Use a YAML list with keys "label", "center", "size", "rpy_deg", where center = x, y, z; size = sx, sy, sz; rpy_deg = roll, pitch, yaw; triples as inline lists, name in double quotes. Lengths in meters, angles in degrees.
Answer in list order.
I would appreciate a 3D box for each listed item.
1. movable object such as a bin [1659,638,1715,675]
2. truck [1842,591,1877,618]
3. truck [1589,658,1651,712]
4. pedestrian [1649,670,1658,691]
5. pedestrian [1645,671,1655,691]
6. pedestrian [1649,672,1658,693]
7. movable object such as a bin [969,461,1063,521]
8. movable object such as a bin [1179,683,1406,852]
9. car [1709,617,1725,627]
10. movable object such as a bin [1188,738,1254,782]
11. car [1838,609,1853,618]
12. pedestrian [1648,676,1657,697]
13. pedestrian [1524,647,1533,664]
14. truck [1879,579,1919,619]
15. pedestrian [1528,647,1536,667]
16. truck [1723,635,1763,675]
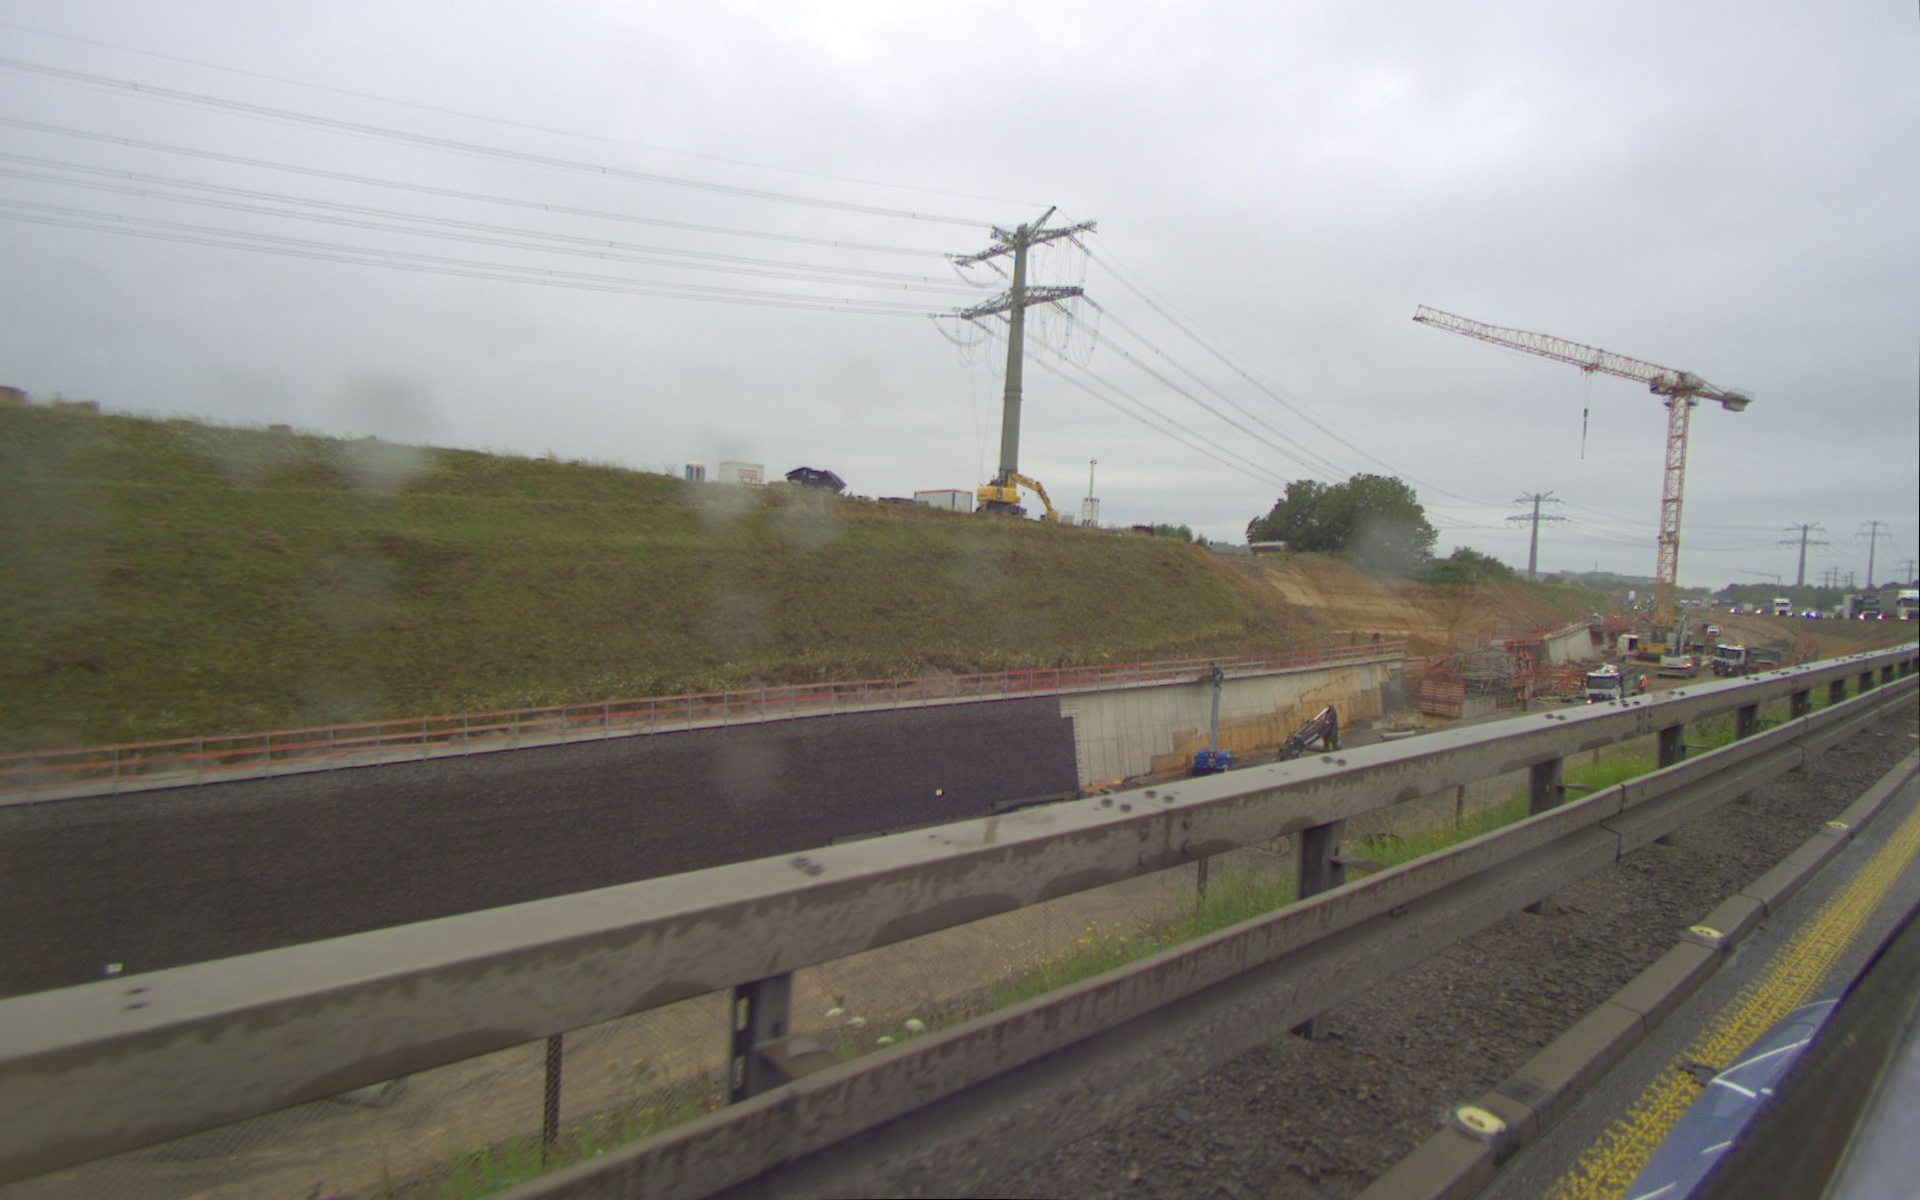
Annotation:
- label: "movable object such as a bin"
  center: [79.412, 6.145, 110.563]
  size: [6.536, 3.467, 3.515]
  rpy_deg: [-1, 1, -40]
- label: "truck"
  center: [137.421, 0.684, 154.709]
  size: [3.530, 3.943, 8.218]
  rpy_deg: [-1, -1, 39]
- label: "truck"
  center: [56.631, 7.159, 86.720]
  size: [2.704, 3.656, 8.930]
  rpy_deg: [3, 3, 44]
- label: "pedestrian"
  center: [67.535, 7.857, 98.535]
  size: [0.601, 1.928, 0.474]
  rpy_deg: [4, 2, 41]
- label: "pedestrian"
  center: [66.273, 7.744, 97.179]
  size: [0.601, 1.791, 0.474]
  rpy_deg: [6, 4, 41]
- label: "pedestrian"
  center: [67.129, 7.992, 98.006]
  size: [0.601, 1.928, 0.474]
  rpy_deg: [3, 2, 41]
- label: "movable object such as a bin"
  center: [4.820, -9.097, 85.595]
  size: [8.036, 4.259, 3.104]
  rpy_deg: [1, 1, -41]
- label: "movable object such as a bin"
  center: [16.132, 7.513, 48.350]
  size: [11.888, 5.740, 4.899]
  rpy_deg: [-3, 1, -42]
- label: "car"
  center: [147.762, 4.279, 197.568]
  size: [2.342, 1.638, 4.790]
  rpy_deg: [2, 2, 40]
- label: "movable object such as a bin"
  center: [15.233, 9.323, 59.114]
  size: [2.514, 1.936, 3.208]
  rpy_deg: [-2, -1, 42]
- label: "car"
  center: [150.379, 2.304, 171.920]
  size: [1.783, 1.445, 3.941]
  rpy_deg: [-1, -1, 40]
- label: "pedestrian"
  center: [66.687, 8.332, 97.492]
  size: [0.601, 1.928, 0.605]
  rpy_deg: [3, 2, 41]
- label: "pedestrian"
  center: [61.655, 6.063, 109.804]
  size: [0.570, 1.827, 0.490]
  rpy_deg: [-3, -3, -9]
- label: "truck"
  center: [109.666, -0.077, 117.209]
  size: [4.301, 4.400, 13.211]
  rpy_deg: [-1, -1, 40]
- label: "pedestrian"
  center: [62.629, 6.276, 110.750]
  size: [0.487, 2.127, 0.474]
  rpy_deg: [-6, -4, 41]
- label: "truck"
  center: [87.127, 5.996, 112.637]
  size: [3.346, 3.584, 8.788]
  rpy_deg: [1, 3, 38]
